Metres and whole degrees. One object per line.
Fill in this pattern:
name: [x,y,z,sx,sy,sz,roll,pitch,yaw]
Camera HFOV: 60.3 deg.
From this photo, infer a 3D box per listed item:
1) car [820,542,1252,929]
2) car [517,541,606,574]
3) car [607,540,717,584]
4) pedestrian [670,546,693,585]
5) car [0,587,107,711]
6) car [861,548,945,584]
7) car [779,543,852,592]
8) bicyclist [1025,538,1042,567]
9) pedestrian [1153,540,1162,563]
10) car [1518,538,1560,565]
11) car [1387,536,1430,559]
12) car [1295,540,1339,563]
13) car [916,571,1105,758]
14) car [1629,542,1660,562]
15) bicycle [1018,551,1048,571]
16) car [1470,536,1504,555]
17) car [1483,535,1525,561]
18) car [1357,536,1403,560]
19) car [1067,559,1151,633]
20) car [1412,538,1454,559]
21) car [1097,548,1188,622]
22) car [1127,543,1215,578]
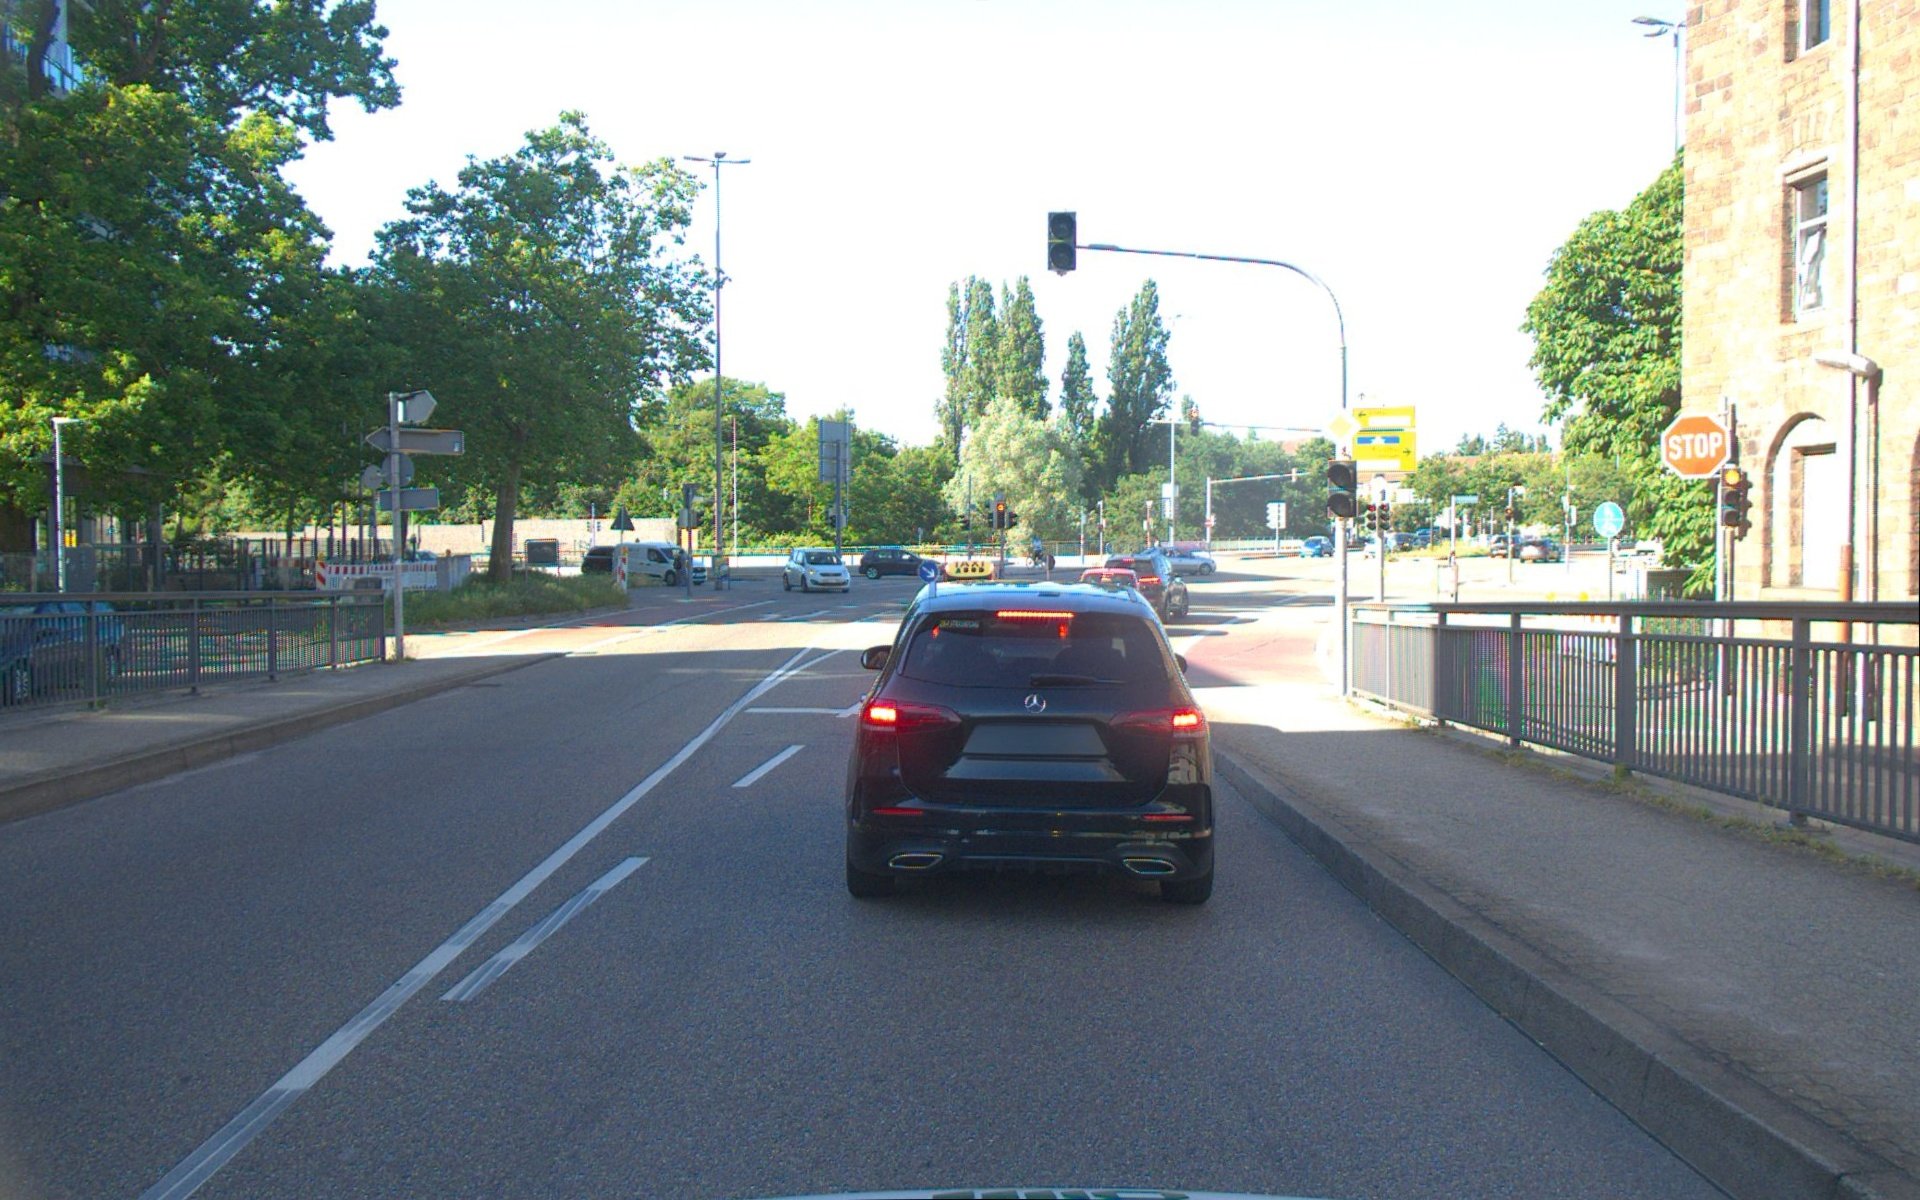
car: [0.297,0.558,9.130,1.840,1.641,3.999,1,1,-1]
car: [-20.156,-2.154,83.669,3.902,1.658,1.893,0,1,12]
car: [-13.069,-1.643,72.440,4.798,1.825,1.918,0,2,35]
pedestrian: [-11.307,-1.399,67.079,0.690,1.552,0.744,1,1,10]
car: [-14.836,0.712,25.028,1.814,1.722,4.000,0,2,-1]
car: [-2.739,-1.655,80.232,3.903,1.658,1.892,0,1,3]
car: [-5.455,-1.249,62.116,1.752,1.663,3.977,-2,3,-20]
bicyclist: [4.083,-2.634,92.113,0.518,1.578,0.802,0,2,42]
pedestrian: [13.837,-3.415,115.828,0.443,1.613,0.499,0,2,40]
car: [35.770,-2.993,102.107,1.707,1.524,3.992,0,0,30]
car: [32.486,-3.782,119.750,1.846,1.605,3.987,1,2,35]
car: [26.465,-3.609,122.585,1.846,1.605,3.987,1,2,35]
car: [0.475,0.529,16.066,1.606,1.556,3.475,-1,2,1]
car: [52.459,-3.691,126.760,1.954,1.389,4.312,0,3,26]
bicycle: [4.083,-2.186,92.135,0.518,1.068,1.978,0,2,41]
car: [46.729,-4.835,146.590,1.846,1.605,3.987,1,2,35]
car: [36.895,-3.497,112.098,1.851,1.574,3.990,1,0,32]
car: [29.099,-3.594,114.531,1.846,1.605,3.987,1,2,35]
car: [3.521,-0.139,38.717,1.685,1.548,3.490,0,3,10]
car: [36.029,-3.931,125.946,1.846,1.605,3.987,1,2,35]
car: [4.947,-0.462,44.402,1.685,1.843,4.301,1,2,17]
car: [10.430,-1.957,81.813,3.916,1.658,1.886,-1,1,-12]
